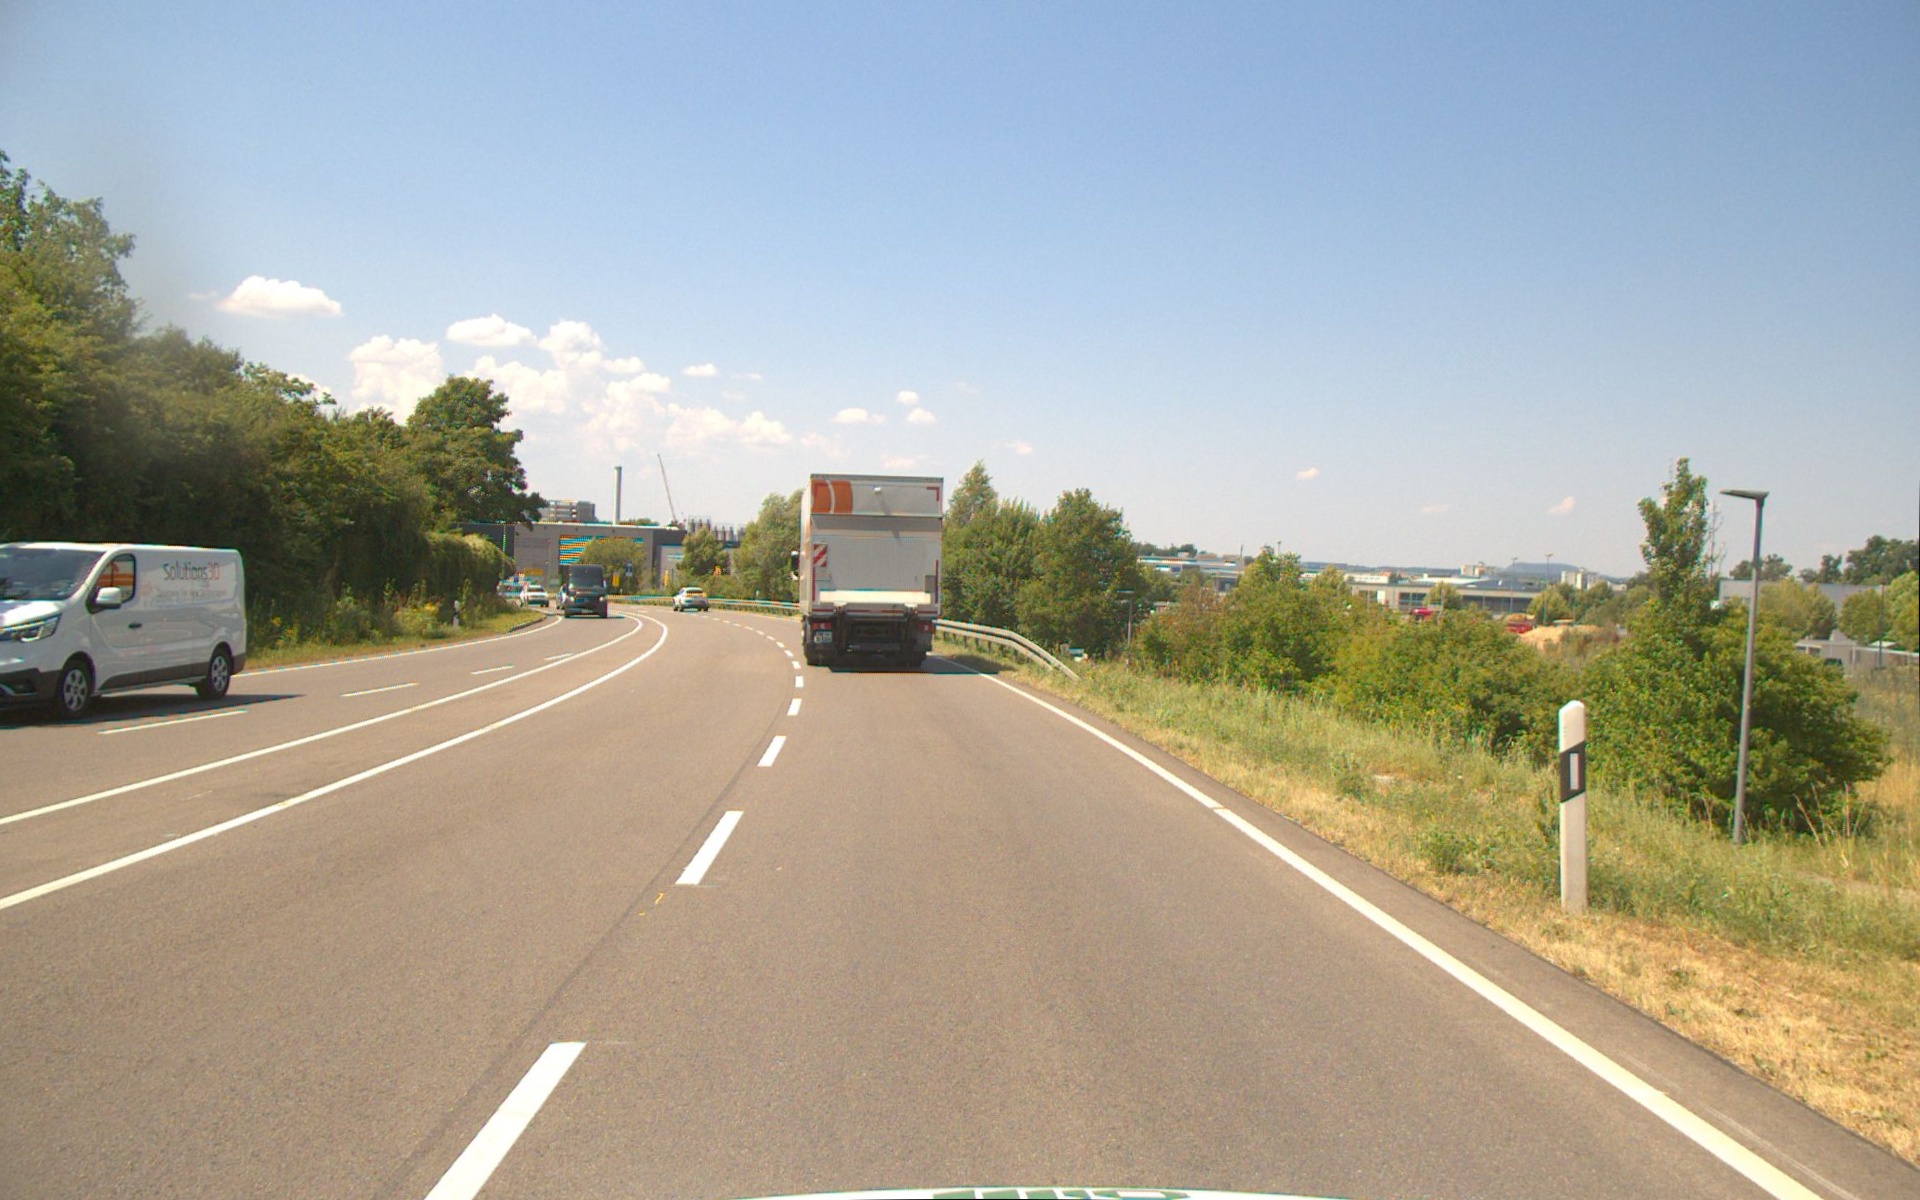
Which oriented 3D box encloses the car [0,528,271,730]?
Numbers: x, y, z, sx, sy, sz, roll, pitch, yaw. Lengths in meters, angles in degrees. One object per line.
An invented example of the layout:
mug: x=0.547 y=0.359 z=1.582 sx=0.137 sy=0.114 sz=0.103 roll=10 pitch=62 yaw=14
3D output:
car: x=-10.443 y=0.248 z=19.798 sx=2.034 sy=2.049 sz=5.805 roll=2 pitch=0 yaw=-2

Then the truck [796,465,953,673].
truck: x=-2.028 y=-0.631 z=35.099 sx=2.750 sy=3.775 sz=9.096 roll=1 pitch=1 yaw=-6

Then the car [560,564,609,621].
car: x=-18.377 y=-0.374 z=80.821 sx=2.150 sy=2.586 sz=6.015 roll=2 pitch=0 yaw=-14

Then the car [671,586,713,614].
car: x=-17.258 y=0.009 z=106.291 sx=1.915 sy=1.693 sz=3.977 roll=4 pitch=-1 yaw=-20

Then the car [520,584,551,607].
car: x=-32.220 y=-0.340 z=125.610 sx=1.963 sy=1.657 sz=4.174 roll=1 pitch=0 yaw=-19

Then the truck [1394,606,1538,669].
truck: x=35.791 y=2.591 z=117.128 sx=9.212 sy=3.747 sz=3.126 roll=4 pitch=2 yaw=28
